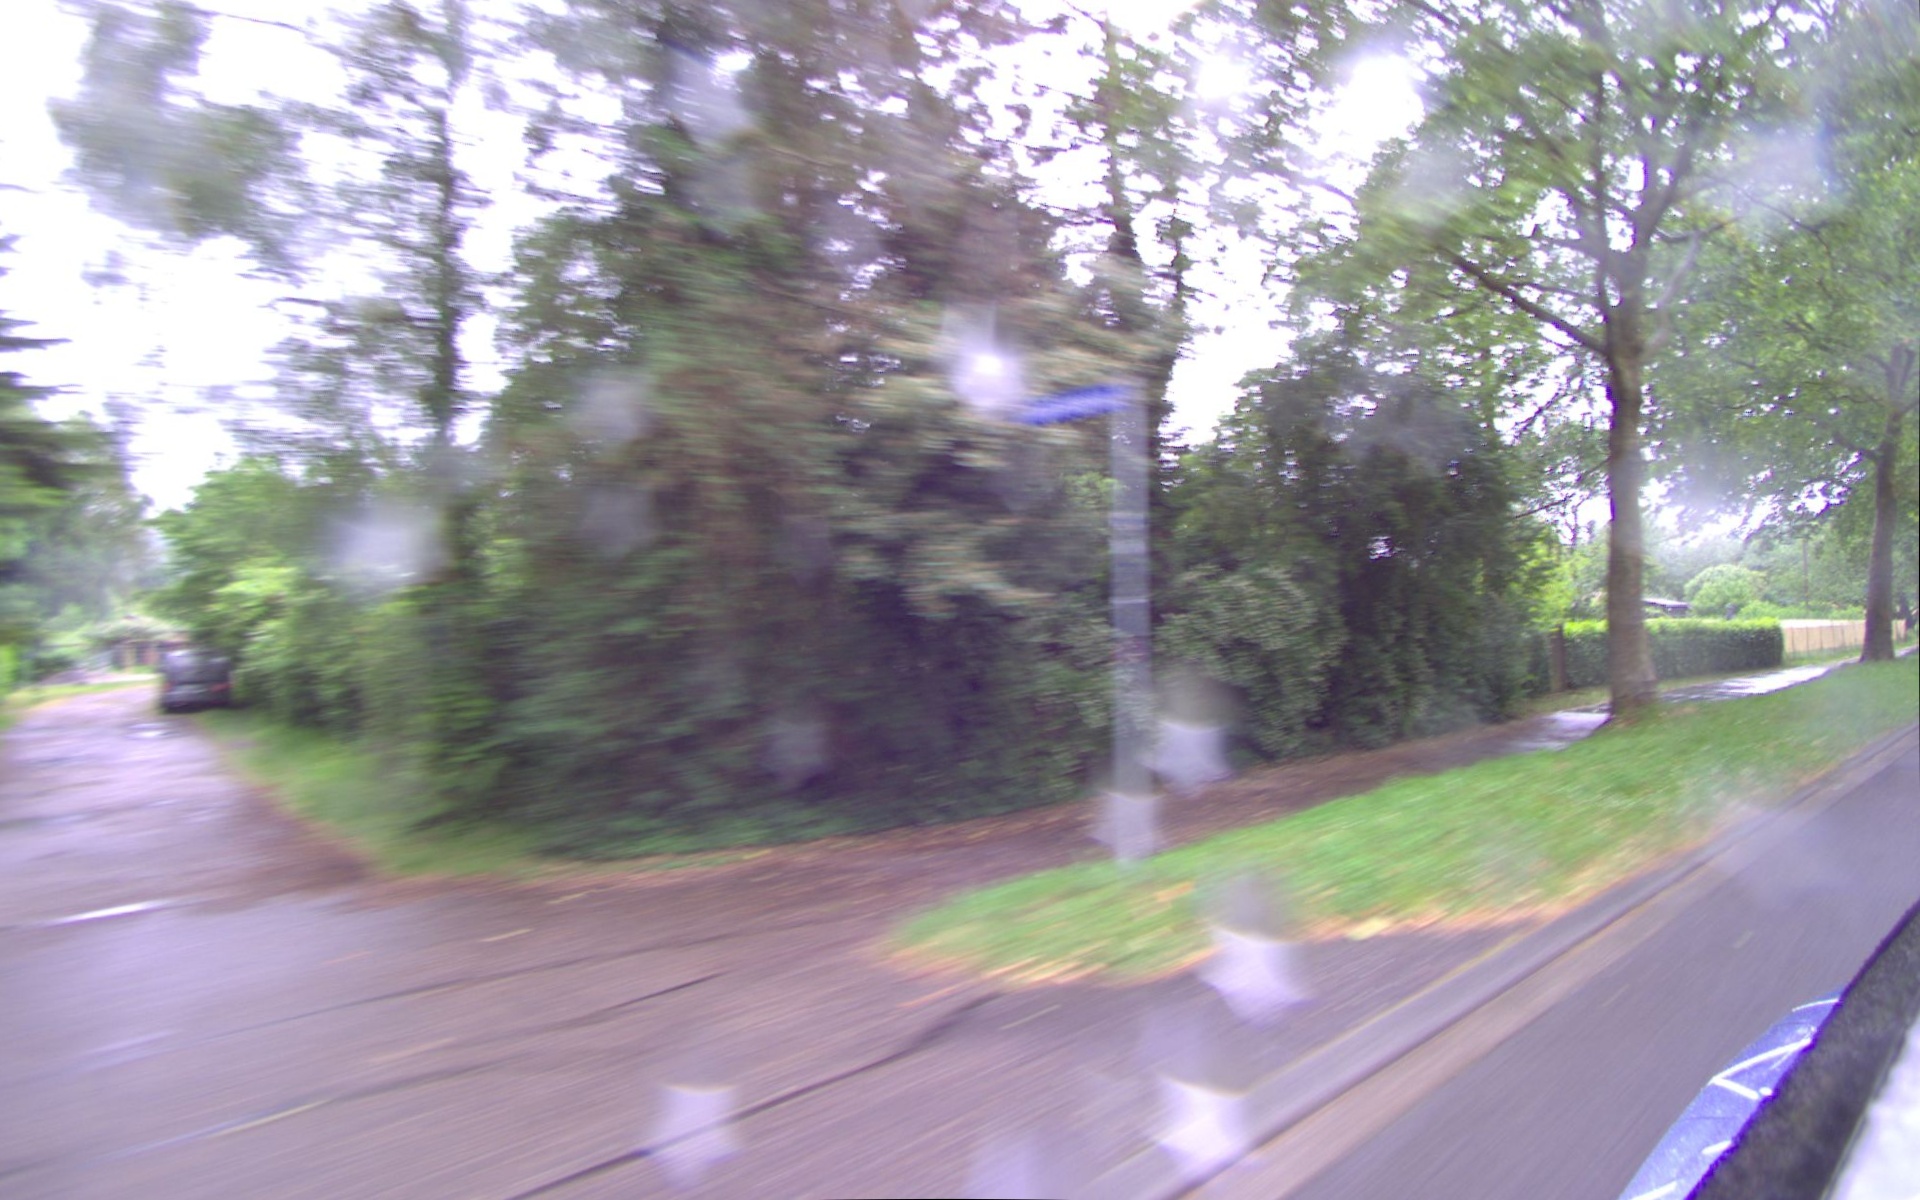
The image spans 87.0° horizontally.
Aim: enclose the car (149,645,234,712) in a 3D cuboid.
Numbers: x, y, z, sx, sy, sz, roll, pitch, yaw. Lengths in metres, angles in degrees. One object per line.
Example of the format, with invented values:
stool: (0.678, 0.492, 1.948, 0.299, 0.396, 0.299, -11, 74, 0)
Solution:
car: (-23.312, 2.300, 30.644, 1.769, 1.707, 3.993, -1, 0, -41)
